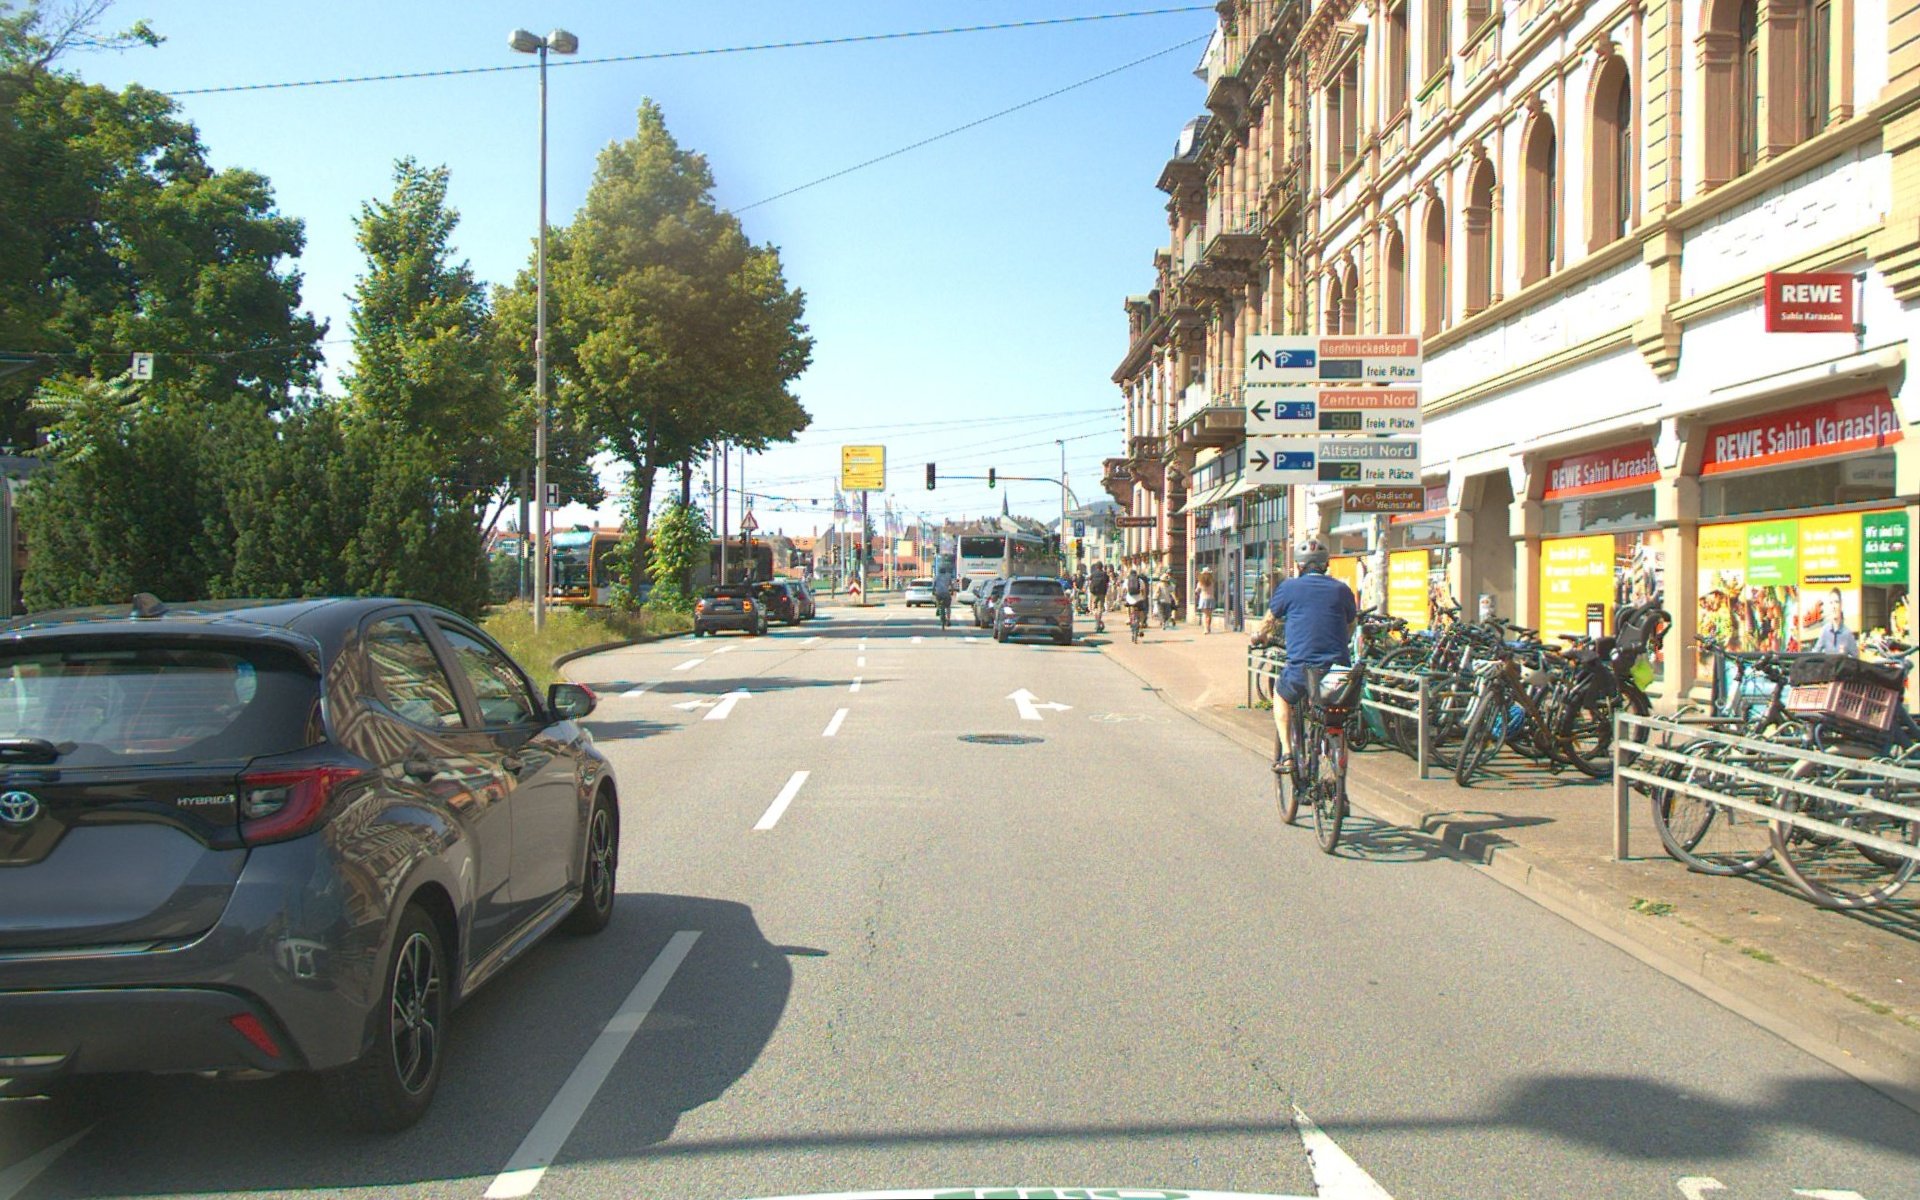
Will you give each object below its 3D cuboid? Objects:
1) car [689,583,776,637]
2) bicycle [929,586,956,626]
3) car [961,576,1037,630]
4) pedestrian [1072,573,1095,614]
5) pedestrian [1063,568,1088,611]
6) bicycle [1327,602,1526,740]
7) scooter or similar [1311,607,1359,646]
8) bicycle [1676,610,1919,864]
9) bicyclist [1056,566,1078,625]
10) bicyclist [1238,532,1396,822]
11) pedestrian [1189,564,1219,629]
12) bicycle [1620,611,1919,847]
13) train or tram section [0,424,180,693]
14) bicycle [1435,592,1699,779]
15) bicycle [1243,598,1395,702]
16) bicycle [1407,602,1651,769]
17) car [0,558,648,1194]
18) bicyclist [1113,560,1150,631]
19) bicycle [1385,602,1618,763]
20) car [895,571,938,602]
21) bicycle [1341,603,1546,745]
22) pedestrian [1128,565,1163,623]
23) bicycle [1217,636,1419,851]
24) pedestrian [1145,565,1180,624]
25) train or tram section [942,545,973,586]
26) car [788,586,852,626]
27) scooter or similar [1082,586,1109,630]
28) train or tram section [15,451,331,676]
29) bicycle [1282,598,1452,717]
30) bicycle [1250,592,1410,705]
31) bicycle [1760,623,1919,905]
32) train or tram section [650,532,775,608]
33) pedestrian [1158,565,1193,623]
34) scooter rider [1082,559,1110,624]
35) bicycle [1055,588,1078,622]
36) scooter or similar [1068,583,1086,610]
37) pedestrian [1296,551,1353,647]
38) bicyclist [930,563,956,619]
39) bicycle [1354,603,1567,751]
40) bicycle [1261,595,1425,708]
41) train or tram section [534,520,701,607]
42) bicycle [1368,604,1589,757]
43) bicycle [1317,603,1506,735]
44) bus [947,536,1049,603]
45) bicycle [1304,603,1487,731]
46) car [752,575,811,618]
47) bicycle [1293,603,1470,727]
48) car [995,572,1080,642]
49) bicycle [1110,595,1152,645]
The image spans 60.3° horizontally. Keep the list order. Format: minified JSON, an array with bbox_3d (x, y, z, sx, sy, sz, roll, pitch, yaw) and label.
[{"bbox_3d":[-6.243,0.262,45.703,1.778,1.355,4.000,2,0,0],"label":"car"},{"bbox_3d":[-0.514,0.163,48.046,0.719,1.112,1.897,2,0,-2],"label":"bicycle"},{"bbox_3d":[1.163,0.080,50.883,1.954,1.518,3.997,2,0,-3],"label":"car"},{"bbox_3d":[5.060,-0.283,67.673,0.845,1.669,0.875,0,0,-2],"label":"pedestrian"},{"bbox_3d":[4.631,-0.405,66.214,0.845,1.669,0.875,2,0,-2],"label":"pedestrian"},{"bbox_3d":[4.277,0.641,15.216,1.659,1.199,0.514,2,0,0],"label":"bicycle"},{"bbox_3d":[6.652,0.466,29.335,0.677,0.661,0.565,-3,0,-2],"label":"scooter or similar"},{"bbox_3d":[4.576,0.677,8.325,1.659,1.199,0.608,2,0,0],"label":"bicycle"},{"bbox_3d":[3.702,-0.150,57.367,0.674,1.996,0.778,2,0,1],"label":"bicyclist"},{"bbox_3d":[2.139,0.444,10.009,0.674,1.644,0.918,2,0,-2],"label":"bicyclist"},{"bbox_3d":[6.312,-0.102,42.853,0.641,1.649,0.815,0,1,-2],"label":"pedestrian"},{"bbox_3d":[4.554,0.686,9.008,1.659,1.199,0.608,2,0,0],"label":"bicycle"},{"bbox_3d":[-14.324,-0.604,24.890,2.560,3.643,5.356,2,0,-1],"label":"train or tram section"},{"bbox_3d":[4.350,0.601,11.914,1.659,1.262,0.608,2,0,0],"label":"bicycle"},{"bbox_3d":[4.199,0.577,19.399,1.658,1.199,0.608,0,1,0],"label":"bicycle"},{"bbox_3d":[4.295,0.636,12.532,1.659,1.199,0.497,2,0,0],"label":"bicycle"},{"bbox_3d":[-2.352,0.662,5.933,1.741,1.501,3.999,-1,0,-1],"label":"car"},{"bbox_3d":[3.993,-0.100,38.633,0.674,1.604,1.049,2,0,-1],"label":"bicyclist"},{"bbox_3d":[4.268,0.641,13.089,1.659,1.199,0.490,2,0,0],"label":"bicycle"},{"bbox_3d":[-2.244,-0.677,86.281,1.820,1.533,4.002,2,0,3],"label":"car"},{"bbox_3d":[4.275,0.646,14.667,1.659,1.199,0.457,2,0,0],"label":"bicycle"},{"bbox_3d":[5.441,-0.175,48.593,0.845,1.669,0.875,2,0,-2],"label":"pedestrian"},{"bbox_3d":[2.118,0.811,10.047,0.719,1.112,1.910,2,0,-2],"label":"bicycle"},{"bbox_3d":[5.764,-0.150,47.137,0.845,1.669,0.875,0,0,-2],"label":"pedestrian"},{"bbox_3d":[-0.224,-3.401,163.680,2.764,3.843,8.228,2,1,1],"label":"train or tram section"},{"bbox_3d":[-5.226,0.224,62.289,1.995,1.355,4.000,2,0,0],"label":"car"},{"bbox_3d":[3.747,0.220,45.911,0.674,1.188,1.464,2,0,3],"label":"scooter or similar"},{"bbox_3d":[-14.419,-0.607,31.001,2.560,3.643,6.897,2,0,-1],"label":"train or tram section"},{"bbox_3d":[4.301,0.605,17.516,1.659,1.199,0.470,2,0,-1],"label":"bicycle"},{"bbox_3d":[4.185,0.543,18.766,1.659,1.199,0.608,-2,1,0],"label":"bicycle"},{"bbox_3d":[4.627,0.731,7.452,1.735,1.199,0.608,2,0,0],"label":"bicycle"},{"bbox_3d":[-12.547,-1.462,84.804,2.764,3.644,8.227,1,-1,19],"label":"train or tram section"},{"bbox_3d":[6.459,-0.176,49.641,0.845,1.669,0.875,2,0,-2],"label":"pedestrian"},{"bbox_3d":[3.781,-0.227,45.993,0.674,1.759,0.778,2,0,3],"label":"scooter rider"},{"bbox_3d":[3.694,0.167,57.368,0.719,1.112,1.898,2,0,2],"label":"bicycle"},{"bbox_3d":[4.636,-0.141,65.612,0.588,1.065,0.799,2,0,-3],"label":"scooter or similar"},{"bbox_3d":[6.599,-0.014,29.968,0.740,1.684,0.837,-3,-1,-2],"label":"pedestrian"},{"bbox_3d":[-0.500,-0.258,48.063,0.674,1.604,1.049,2,0,-2],"label":"bicyclist"},{"bbox_3d":[4.265,0.645,14.149,1.659,1.199,0.463,2,0,0],"label":"bicycle"},{"bbox_3d":[4.180,0.552,18.112,1.658,1.199,0.608,0,1,0],"label":"bicycle"},{"bbox_3d":[-15.544,-1.568,76.144,2.763,3.644,10.035,1,-1,19],"label":"train or tram section"},{"bbox_3d":[4.263,0.652,13.633,1.659,1.199,0.451,2,0,0],"label":"bicycle"},{"bbox_3d":[4.303,0.652,15.798,1.659,1.199,0.459,2,0,0],"label":"bicycle"},{"bbox_3d":[1.905,-1.367,77.839,2.906,2.825,8.647,2,0,14],"label":"bus"},{"bbox_3d":[4.289,0.657,16.333,1.659,1.199,0.460,2,0,0],"label":"bicycle"},{"bbox_3d":[-5.887,-0.100,54.859,1.422,1.323,4.000,2,0,0],"label":"car"},{"bbox_3d":[4.281,0.651,16.858,1.659,1.199,0.470,2,0,-1],"label":"bicycle"},{"bbox_3d":[1.825,0.161,39.852,1.835,1.518,4.000,2,0,0],"label":"car"},{"bbox_3d":[3.976,0.446,38.604,0.719,1.112,1.897,2,0,-1],"label":"bicycle"}]
